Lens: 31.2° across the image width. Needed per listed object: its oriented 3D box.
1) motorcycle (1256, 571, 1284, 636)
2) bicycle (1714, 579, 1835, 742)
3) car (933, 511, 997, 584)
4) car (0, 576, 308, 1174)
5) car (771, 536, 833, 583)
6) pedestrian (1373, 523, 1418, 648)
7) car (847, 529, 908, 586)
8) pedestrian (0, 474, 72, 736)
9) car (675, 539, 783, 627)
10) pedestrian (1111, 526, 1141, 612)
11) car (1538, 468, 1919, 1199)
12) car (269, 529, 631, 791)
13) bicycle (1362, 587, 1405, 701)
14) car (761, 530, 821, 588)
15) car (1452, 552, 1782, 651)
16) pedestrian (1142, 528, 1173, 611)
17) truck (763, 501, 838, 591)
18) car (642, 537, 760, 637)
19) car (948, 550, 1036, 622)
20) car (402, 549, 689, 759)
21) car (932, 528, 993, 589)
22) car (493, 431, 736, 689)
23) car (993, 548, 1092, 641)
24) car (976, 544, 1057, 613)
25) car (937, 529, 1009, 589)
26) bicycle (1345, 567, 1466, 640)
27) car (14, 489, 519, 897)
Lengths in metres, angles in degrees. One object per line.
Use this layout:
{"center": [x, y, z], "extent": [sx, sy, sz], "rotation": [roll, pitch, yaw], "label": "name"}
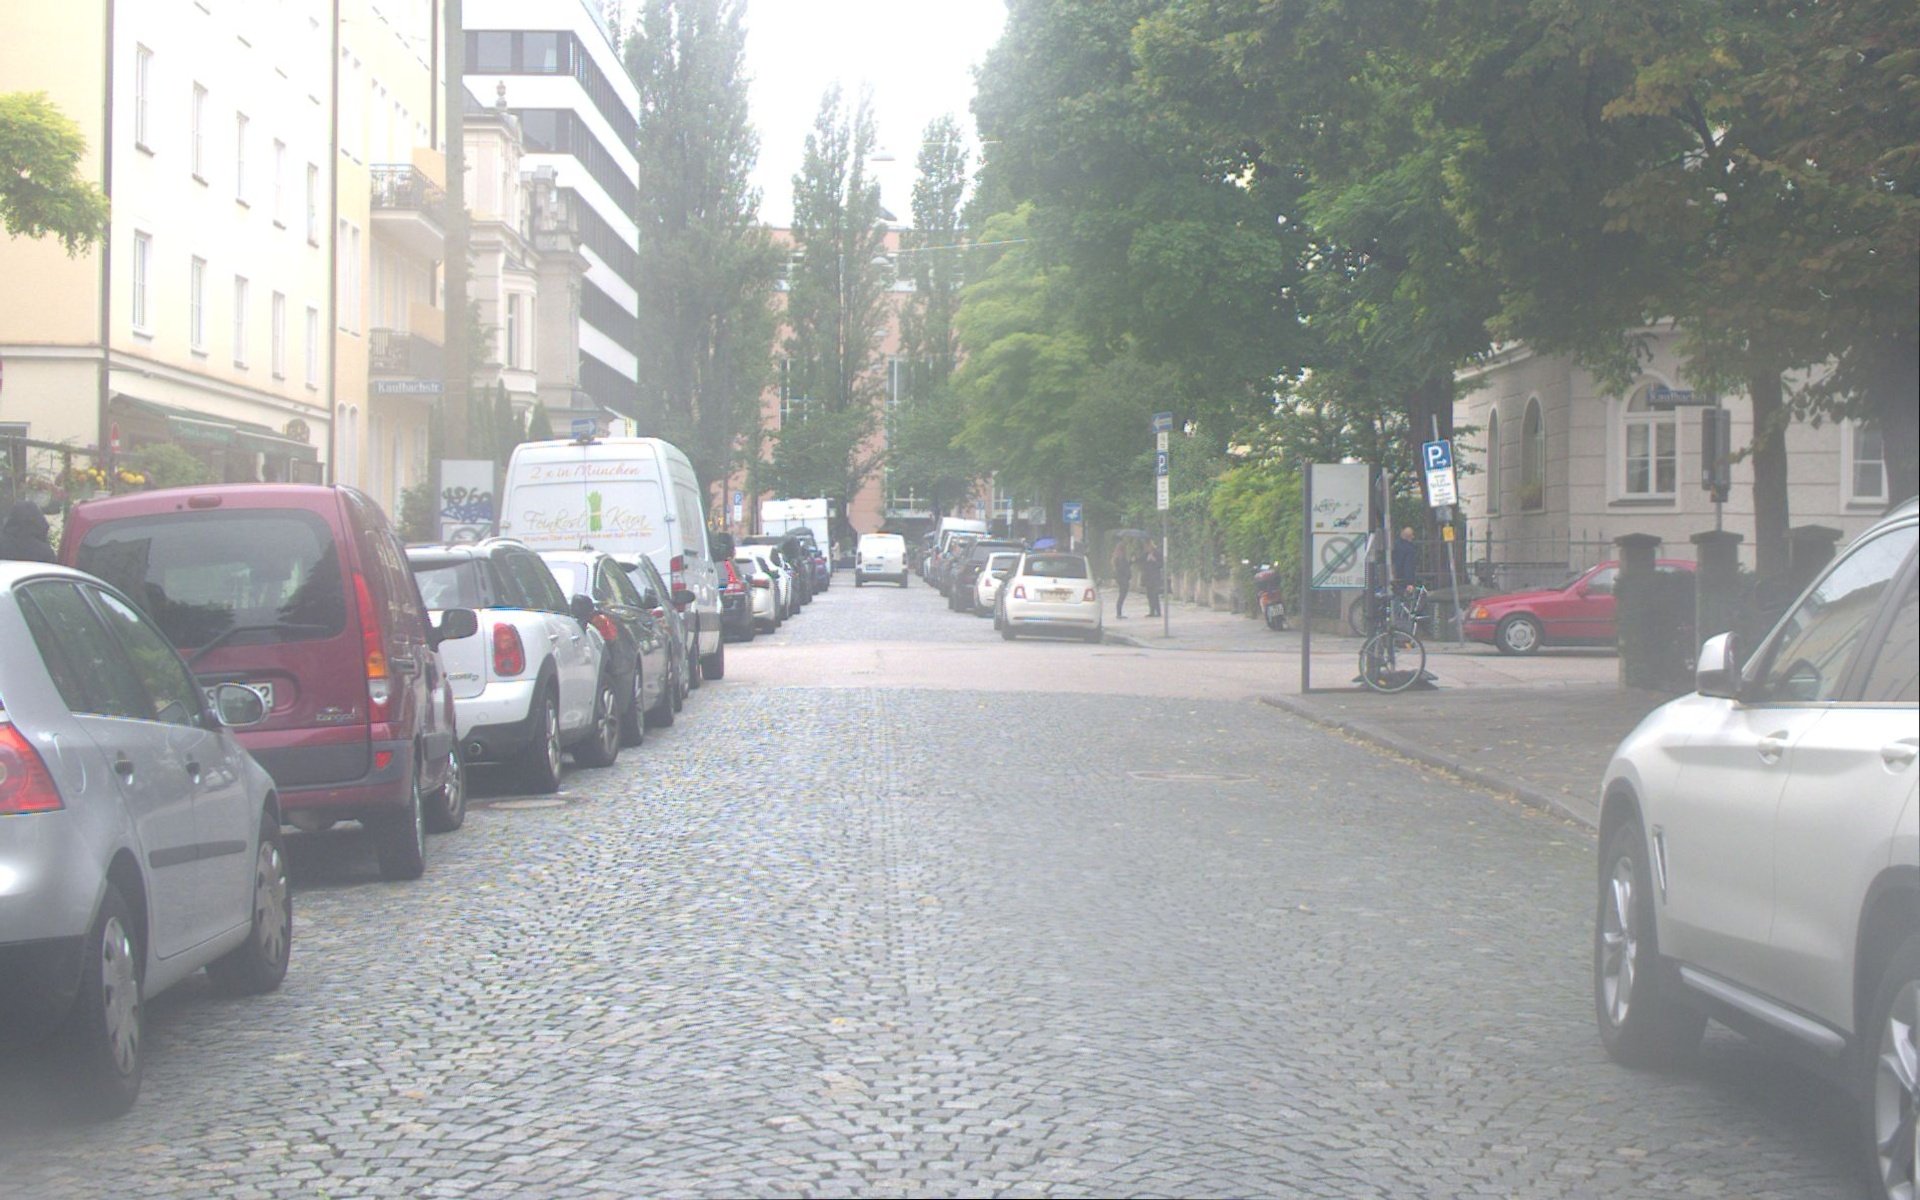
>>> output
{"center": [5.285, 0.054, 58.723], "extent": [0.362, 1.086, 1.403], "rotation": [1, 0, 1], "label": "motorcycle"}
{"center": [6.335, 0.454, 26.801], "extent": [0.427, 1.194, 1.731], "rotation": [-5, 0, 0], "label": "bicycle"}
{"center": [0.146, -1.903, 122.906], "extent": [1.895, 2.418, 5.612], "rotation": [4, 1, -2], "label": "car"}
{"center": [-2.995, 0.635, 10.016], "extent": [1.631, 1.389, 3.817], "rotation": [1, 1, -3], "label": "car"}
{"center": [-5.053, -1.310, 110.255], "extent": [1.940, 1.454, 4.058], "rotation": [1, 1, -3], "label": "car"}
{"center": [6.585, -0.224, 51.985], "extent": [0.493, 1.869, 0.743], "rotation": [1, 0, -6], "label": "pedestrian"}
{"center": [-2.841, -1.466, 118.906], "extent": [1.996, 1.929, 4.000], "rotation": [0, 1, 0], "label": "car"}
{"center": [-6.684, 0.031, 24.448], "extent": [0.613, 1.834, 0.814], "rotation": [0, 0, -8], "label": "pedestrian"}
{"center": [-4.186, -0.341, 62.721], "extent": [1.773, 1.531, 4.541], "rotation": [1, 1, -2], "label": "car"}
{"center": [3.626, -0.678, 75.054], "extent": [0.576, 1.844, 0.681], "rotation": [1, 1, 6], "label": "pedestrian"}
{"center": [2.808, 0.584, 8.482], "extent": [1.920, 1.680, 4.634], "rotation": [0, 0, -1], "label": "car"}
{"center": [-3.143, 0.329, 21.853], "extent": [1.693, 1.498, 3.777], "rotation": [1, 1, 0], "label": "car"}
{"center": [4.376, 0.440, 35.572], "extent": [0.388, 1.143, 1.589], "rotation": [0, 0, 5], "label": "bicycle"}
{"center": [-5.144, -1.247, 104.884], "extent": [1.773, 1.712, 4.391], "rotation": [1, 1, -2], "label": "car"}
{"center": [9.259, 0.009, 48.746], "extent": [4.468, 1.353, 1.760], "rotation": [0, 1, 6], "label": "car"}
{"center": [4.326, -0.673, 75.359], "extent": [0.628, 1.802, 0.660], "rotation": [1, 0, 4], "label": "pedestrian"}
{"center": [-5.667, -1.946, 121.863], "extent": [2.508, 3.021, 6.385], "rotation": [-2, 1, -3], "label": "truck"}
{"center": [-4.321, -0.233, 57.854], "extent": [1.852, 1.580, 4.749], "rotation": [1, 1, -3], "label": "car"}
{"center": [0.741, -0.355, 83.768], "extent": [1.875, 1.667, 5.491], "rotation": [-1, 1, -2], "label": "car"}
{"center": [-3.180, 0.357, 27.144], "extent": [1.725, 1.459, 4.473], "rotation": [-2, 1, -1], "label": "car"}
{"center": [0.063, -1.431, 117.410], "extent": [1.800, 1.943, 4.861], "rotation": [3, 1, -2], "label": "car"}
{"center": [-3.687, -0.435, 37.689], "extent": [1.977, 2.565, 5.794], "rotation": [-1, 1, 0], "label": "car"}
{"center": [1.365, -0.110, 57.964], "extent": [1.502, 1.466, 3.795], "rotation": [2, 1, 0], "label": "car"}
{"center": [1.268, -0.491, 78.571], "extent": [1.630, 1.464, 3.659], "rotation": [3, 1, -2], "label": "car"}
{"center": [0.373, -1.229, 104.272], "extent": [1.963, 1.753, 4.955], "rotation": [1, 1, -2], "label": "car"}
{"center": [7.008, 0.047, 54.033], "extent": [1.839, 1.120, 0.562], "rotation": [1, 1, 12], "label": "bicycle"}
{"center": [-3.206, 0.375, 16.611], "extent": [1.717, 1.717, 3.899], "rotation": [-1, 1, -1], "label": "car"}
